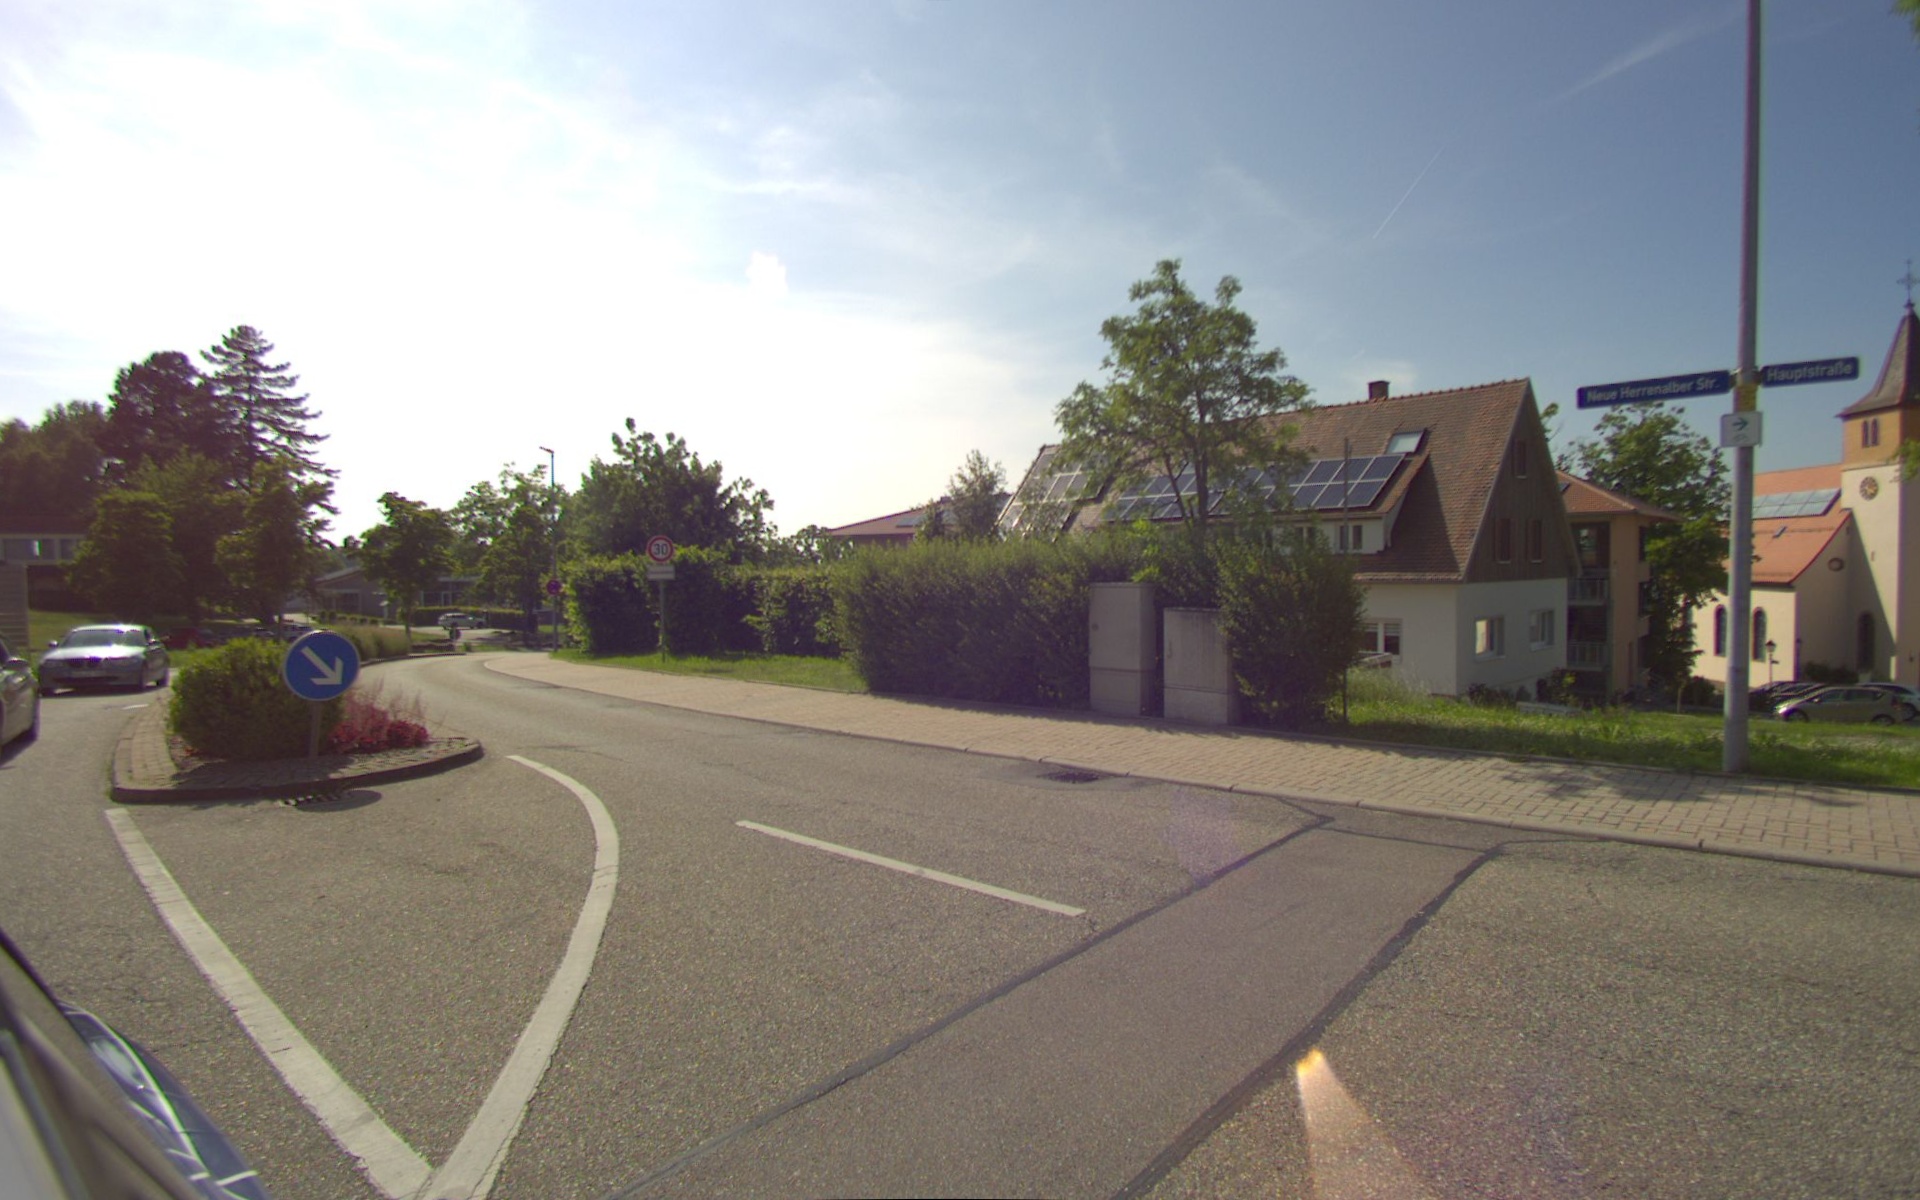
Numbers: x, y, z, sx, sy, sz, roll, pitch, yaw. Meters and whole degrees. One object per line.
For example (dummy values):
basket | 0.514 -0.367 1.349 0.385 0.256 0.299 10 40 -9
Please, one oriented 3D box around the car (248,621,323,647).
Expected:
car | -46.401 2.363 69.652 3.956 1.630 1.993 2 -2 10

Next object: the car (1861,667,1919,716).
car | 42.697 4.054 44.748 3.991 2.029 1.976 0 -2 35

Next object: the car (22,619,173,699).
car | -18.394 1.210 21.788 1.872 1.519 4.011 3 -2 -33

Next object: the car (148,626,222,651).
car | -47.501 2.353 62.066 3.272 1.414 1.711 2 -1 6

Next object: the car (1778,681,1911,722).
car | 33.401 3.810 38.344 3.617 1.364 1.458 -2 -3 37

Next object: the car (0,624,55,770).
car | -11.164 0.976 10.783 1.810 1.378 4.592 1 -1 -36

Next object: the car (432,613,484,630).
car | -50.557 2.199 102.029 1.791 1.526 4.312 0 -2 38

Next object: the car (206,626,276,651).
car | -46.421 2.469 65.390 3.501 1.438 1.680 2 -2 11
